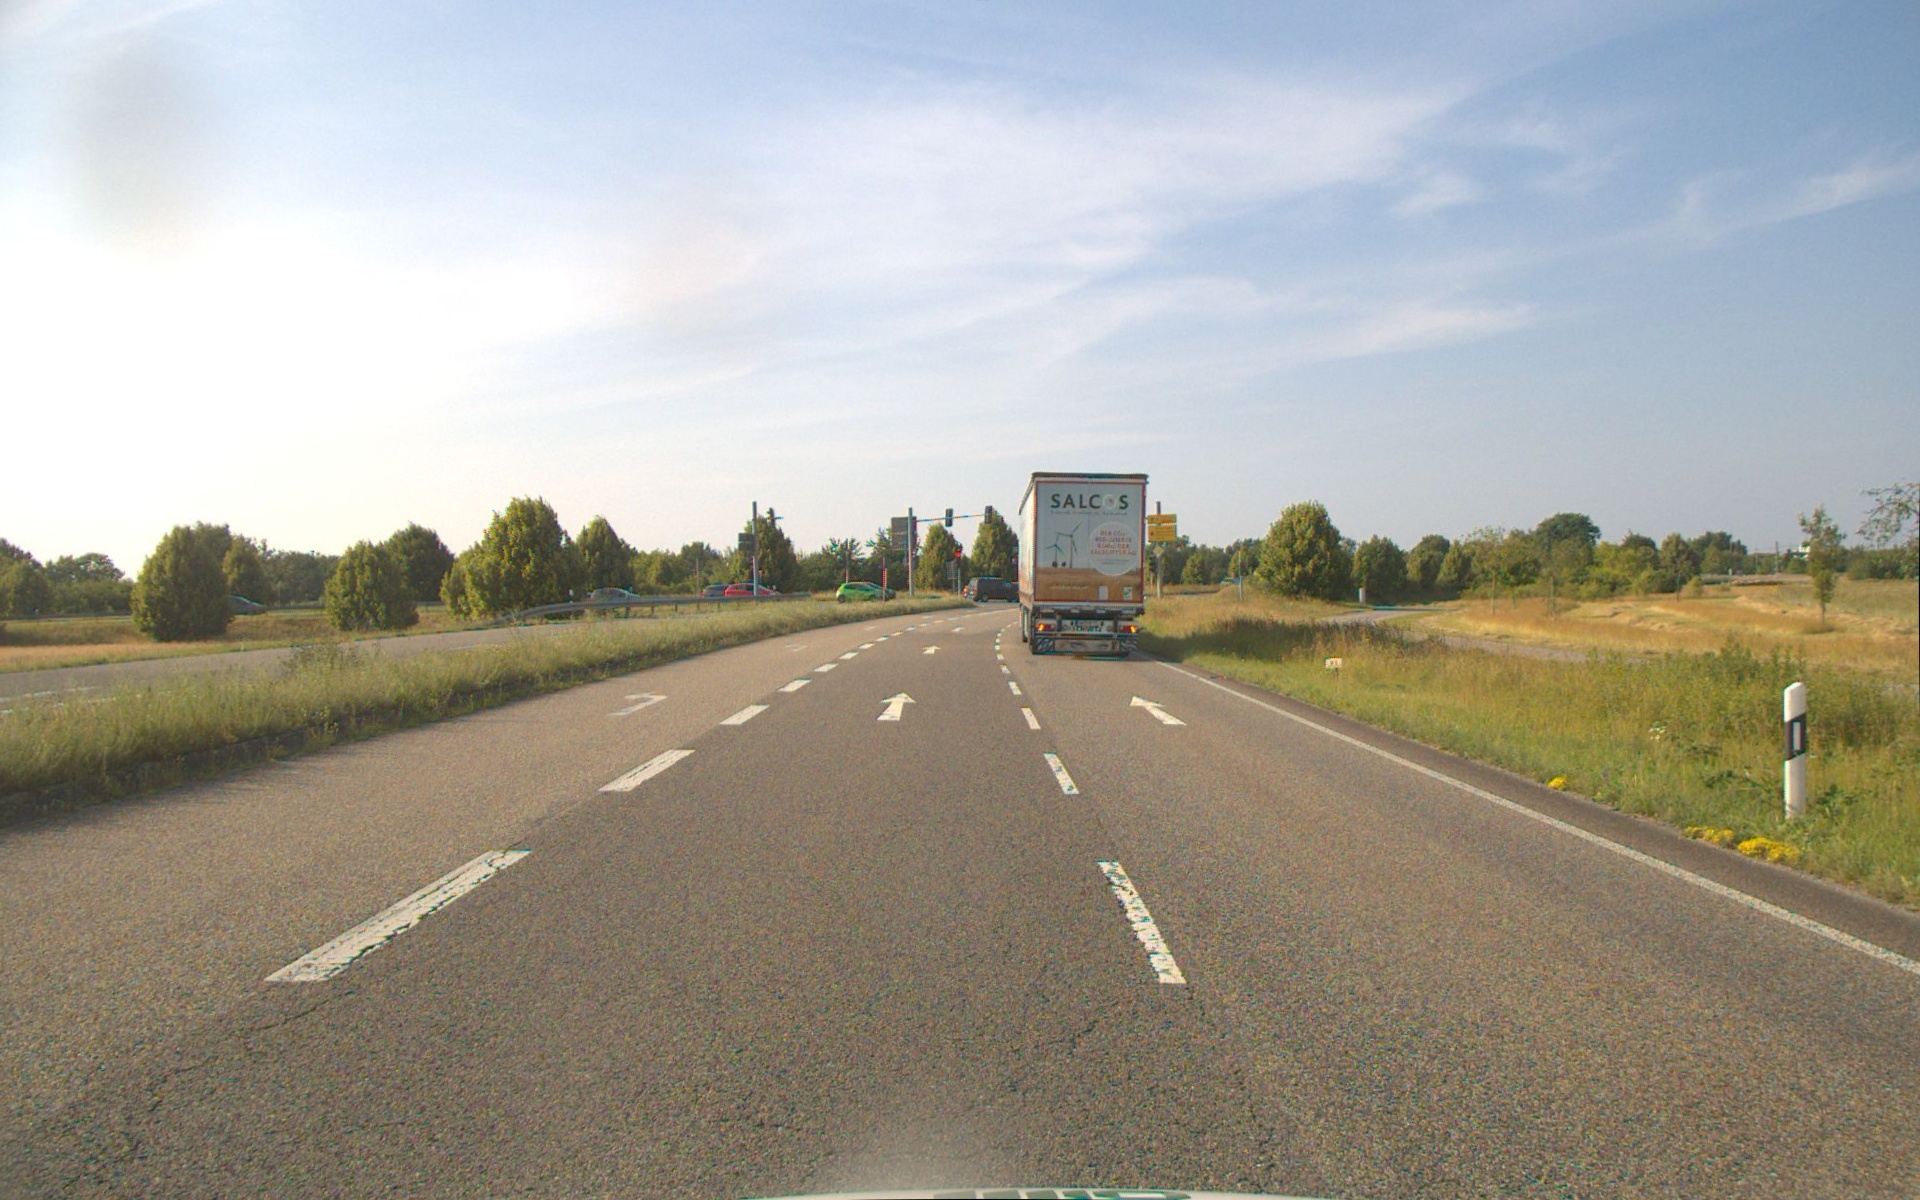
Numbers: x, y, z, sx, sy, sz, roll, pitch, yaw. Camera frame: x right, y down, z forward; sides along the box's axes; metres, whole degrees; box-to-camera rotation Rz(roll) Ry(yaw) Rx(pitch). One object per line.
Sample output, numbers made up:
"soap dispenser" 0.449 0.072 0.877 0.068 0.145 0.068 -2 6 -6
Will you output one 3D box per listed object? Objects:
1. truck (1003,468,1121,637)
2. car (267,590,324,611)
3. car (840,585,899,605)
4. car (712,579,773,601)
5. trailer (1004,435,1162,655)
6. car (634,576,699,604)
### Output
"truck" 2.960 -1.376 49.624 3.232 4.739 5.733 1 0 1
"car" -55.171 0.070 137.429 3.907 1.696 1.999 1 -1 -3
"car" -6.679 -0.365 122.199 4.333 1.442 1.919 1 -1 -3
"car" -16.346 -0.719 124.242 4.173 1.592 1.903 1 -1 6
"trailer" 2.855 -1.293 42.602 3.214 4.762 13.149 0 1 1
"car" -22.118 -0.763 124.812 4.362 2.049 2.002 1 -1 10
